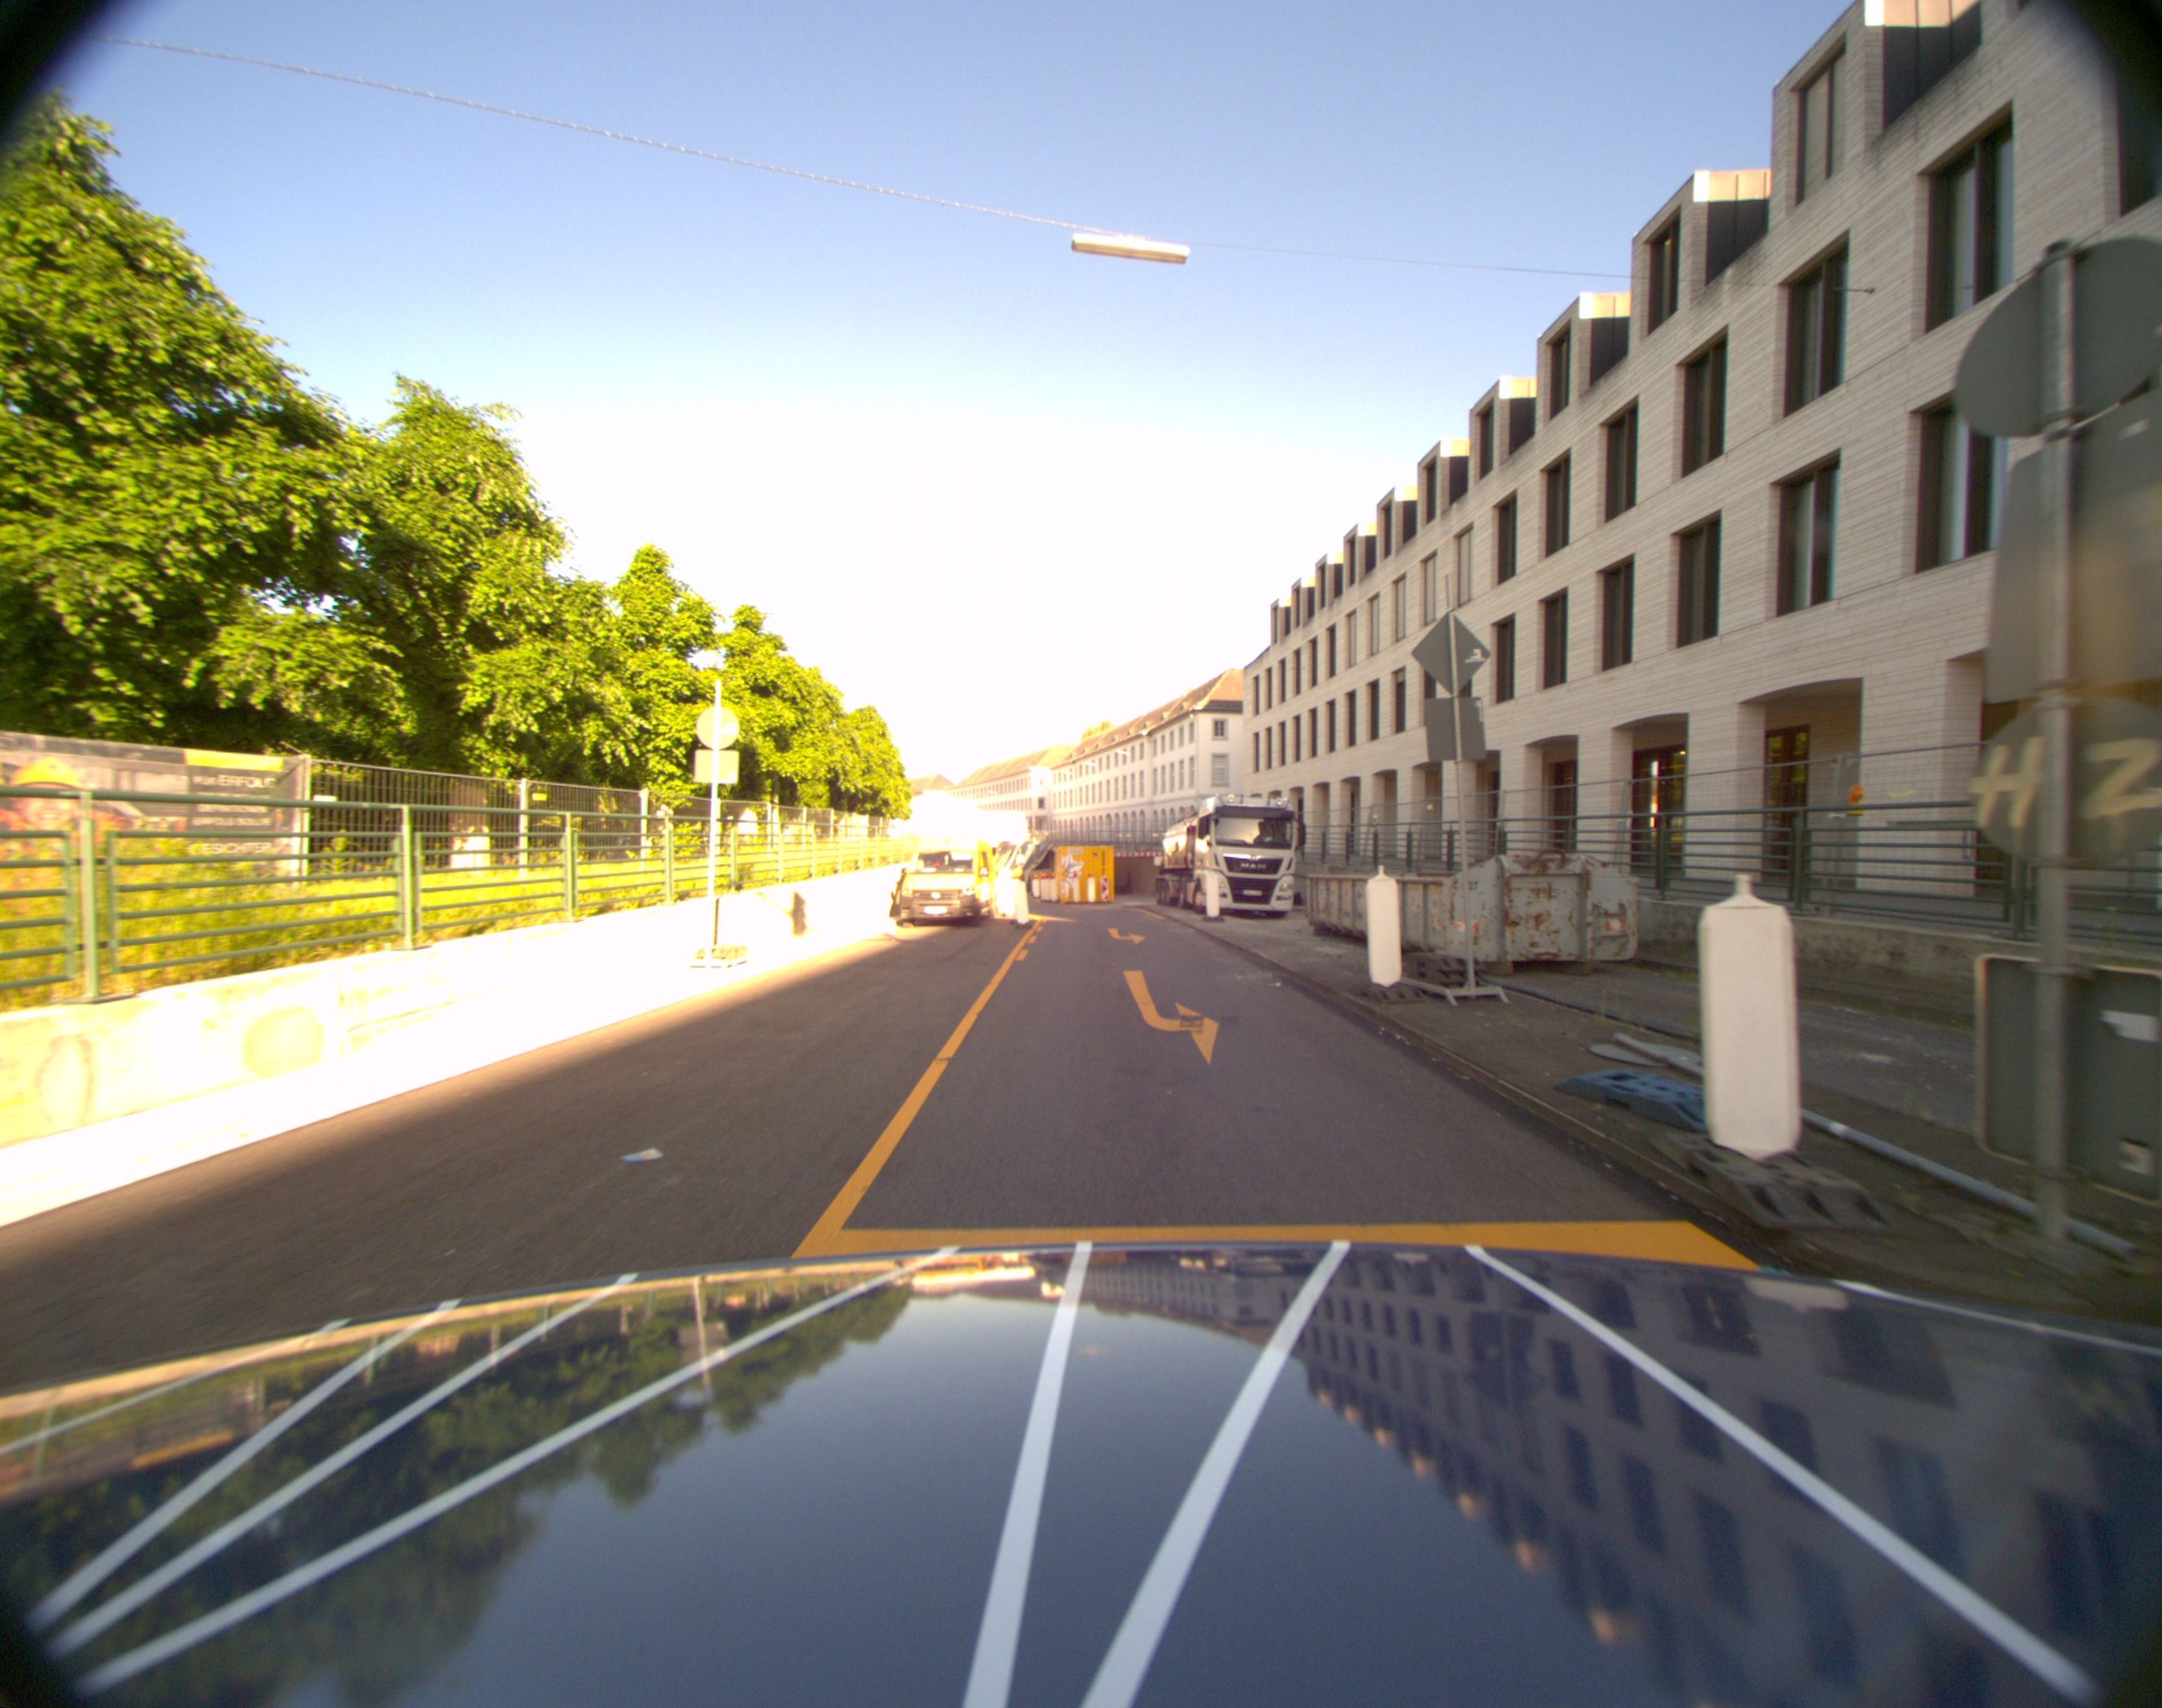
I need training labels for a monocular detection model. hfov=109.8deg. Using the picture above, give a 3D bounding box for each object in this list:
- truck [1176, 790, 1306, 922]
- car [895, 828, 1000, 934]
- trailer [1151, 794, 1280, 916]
[{"bbox_3d":[4.715,0.113,23.550,2.586,3.468,5.816,3,-1,0],"label":"truck"},{"bbox_3d":[-3.726,0.728,22.551,2.118,2.609,6.986,-1,-1,-2],"label":"car"},{"bbox_3d":[4.559,0.113,27.880,2.649,3.647,8.747,3,-1,-3],"label":"trailer"}]
